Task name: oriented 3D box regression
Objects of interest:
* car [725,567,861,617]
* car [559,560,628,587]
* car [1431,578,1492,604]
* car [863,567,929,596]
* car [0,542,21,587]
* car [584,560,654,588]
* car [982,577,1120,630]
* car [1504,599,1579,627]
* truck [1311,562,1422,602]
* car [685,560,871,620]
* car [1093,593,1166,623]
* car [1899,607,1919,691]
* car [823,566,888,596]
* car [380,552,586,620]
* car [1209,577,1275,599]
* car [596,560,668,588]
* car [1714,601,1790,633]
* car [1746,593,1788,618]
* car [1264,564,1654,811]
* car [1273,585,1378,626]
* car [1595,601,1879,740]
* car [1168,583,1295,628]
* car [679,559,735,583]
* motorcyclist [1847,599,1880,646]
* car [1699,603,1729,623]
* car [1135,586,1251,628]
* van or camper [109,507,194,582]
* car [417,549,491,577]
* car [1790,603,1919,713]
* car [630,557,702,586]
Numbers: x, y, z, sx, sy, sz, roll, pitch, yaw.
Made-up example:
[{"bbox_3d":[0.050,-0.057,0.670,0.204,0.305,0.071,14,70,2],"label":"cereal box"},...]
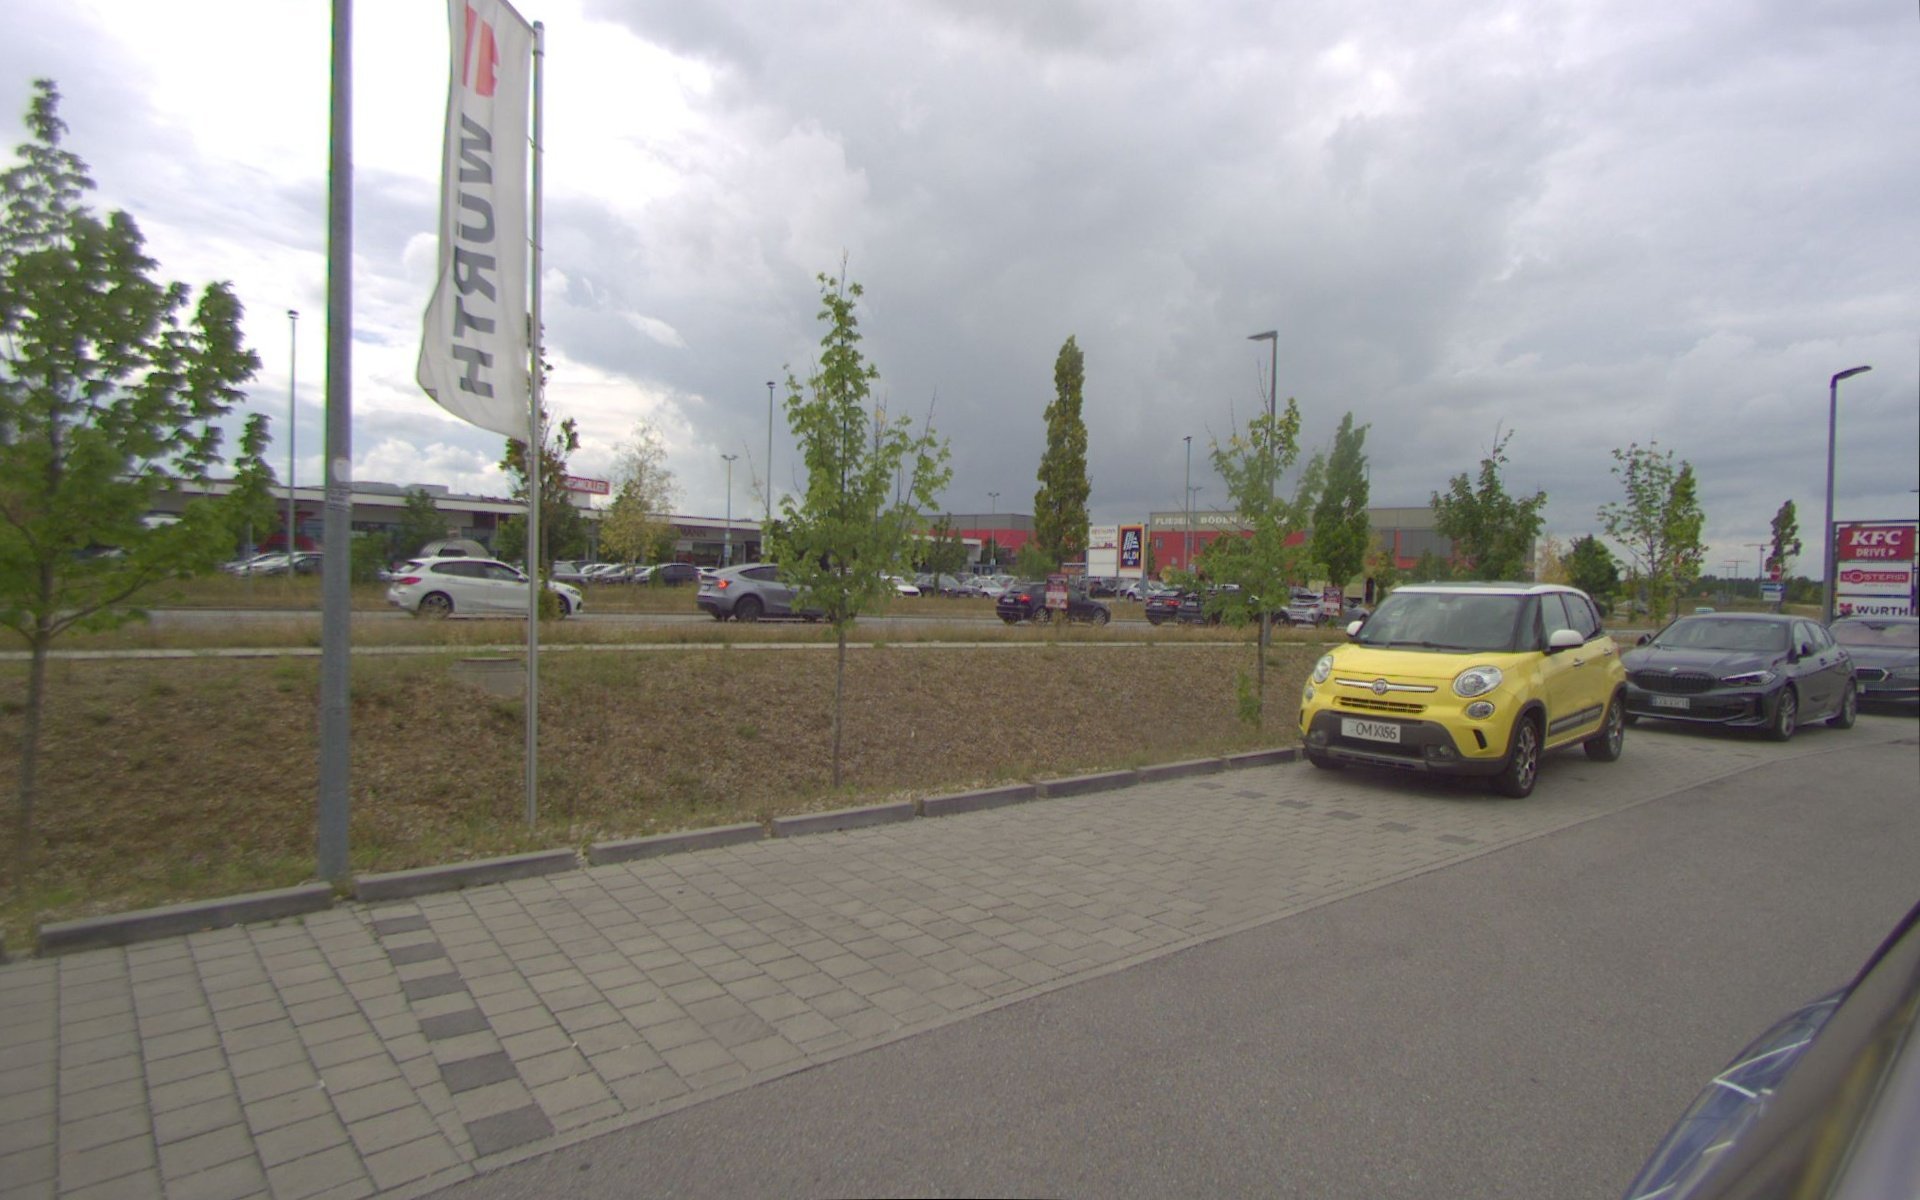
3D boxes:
[{"bbox_3d":[-5.397,-0.248,32.888,3.977,1.499,1.759,1,1,-34],"label":"car"},{"bbox_3d":[-24.554,-1.757,67.952,1.867,1.660,3.945,3,1,38],"label":"car"},{"bbox_3d":[43.389,-0.762,87.530,4.416,2.149,1.972,2,1,38],"label":"car"},{"bbox_3d":[-3.589,-1.038,55.982,1.744,1.494,4.000,1,1,-36],"label":"car"},{"bbox_3d":[-33.625,-1.236,34.748,1.961,1.469,4.142,1,1,-42],"label":"car"},{"bbox_3d":[-22.295,-1.681,66.187,1.867,1.660,3.945,3,1,38],"label":"car"},{"bbox_3d":[2.993,0.131,33.099,4.253,1.588,1.909,1,1,-36],"label":"car"},{"bbox_3d":[31.223,0.671,54.313,4.286,1.413,1.792,0,1,-33],"label":"car"},{"bbox_3d":[32.292,-1.422,80.396,8.012,2.982,2.686,1,1,-13],"label":"truck"},{"bbox_3d":[-5.036,-0.264,28.343,4.792,1.527,1.811,1,1,-36],"label":"car"},{"bbox_3d":[9.478,0.431,56.839,1.959,1.549,4.005,1,1,-29],"label":"car"},{"bbox_3d":[19.546,0.927,18.959,4.399,1.509,1.754,1,1,-32],"label":"car"},{"bbox_3d":[-5.725,-1.070,54.906,1.744,1.494,4.000,1,1,-36],"label":"car"},{"bbox_3d":[-11.306,-0.342,24.110,4.171,1.468,1.800,0,2,-38],"label":"car"},{"bbox_3d":[19.599,-0.834,70.440,1.963,1.460,3.998,1,1,-38],"label":"car"},{"bbox_3d":[-20.829,-1.623,64.371,1.867,1.660,3.945,3,1,38],"label":"car"},{"bbox_3d":[42.628,0.913,54.454,4.286,1.534,2.001,1,1,-35],"label":"car"},{"bbox_3d":[64.006,0.423,80.256,3.931,1.836,1.904,1,1,-42],"label":"car"},{"bbox_3d":[4.630,0.594,9.077,4.226,1.704,1.749,1,1,-43],"label":"car"},{"bbox_3d":[14.613,0.216,40.461,3.920,1.513,1.825,1,1,-31],"label":"car"},{"bbox_3d":[9.821,0.765,12.694,4.226,1.433,1.752,1,1,-37],"label":"car"},{"bbox_3d":[8.890,0.183,33.077,3.920,1.371,1.762,1,1,-31],"label":"car"},{"bbox_3d":[-19.608,-2.229,78.501,1.867,1.660,3.945,3,1,38],"label":"car"},{"bbox_3d":[26.581,0.650,29.785,0.670,1.332,0.567,2,1,41],"label":"motorcyclist"},{"bbox_3d":[68.611,1.143,92.093,1.988,1.697,3.949,3,1,35],"label":"car"},{"bbox_3d":[8.587,0.261,37.251,3.921,1.415,1.911,1,1,-32],"label":"car"},{"bbox_3d":[-29.498,-2.007,37.039,2.248,2.523,3.999,1,1,-37],"label":"van or camper"},{"bbox_3d":[-32.985,-2.425,66.029,1.867,1.660,3.945,3,1,38],"label":"car"},{"bbox_3d":[15.138,0.849,16.150,4.545,1.509,1.753,1,1,-35],"label":"car"},{"bbox_3d":[-18.130,-1.742,62.544,1.867,1.660,3.945,3,1,38],"label":"car"}]
